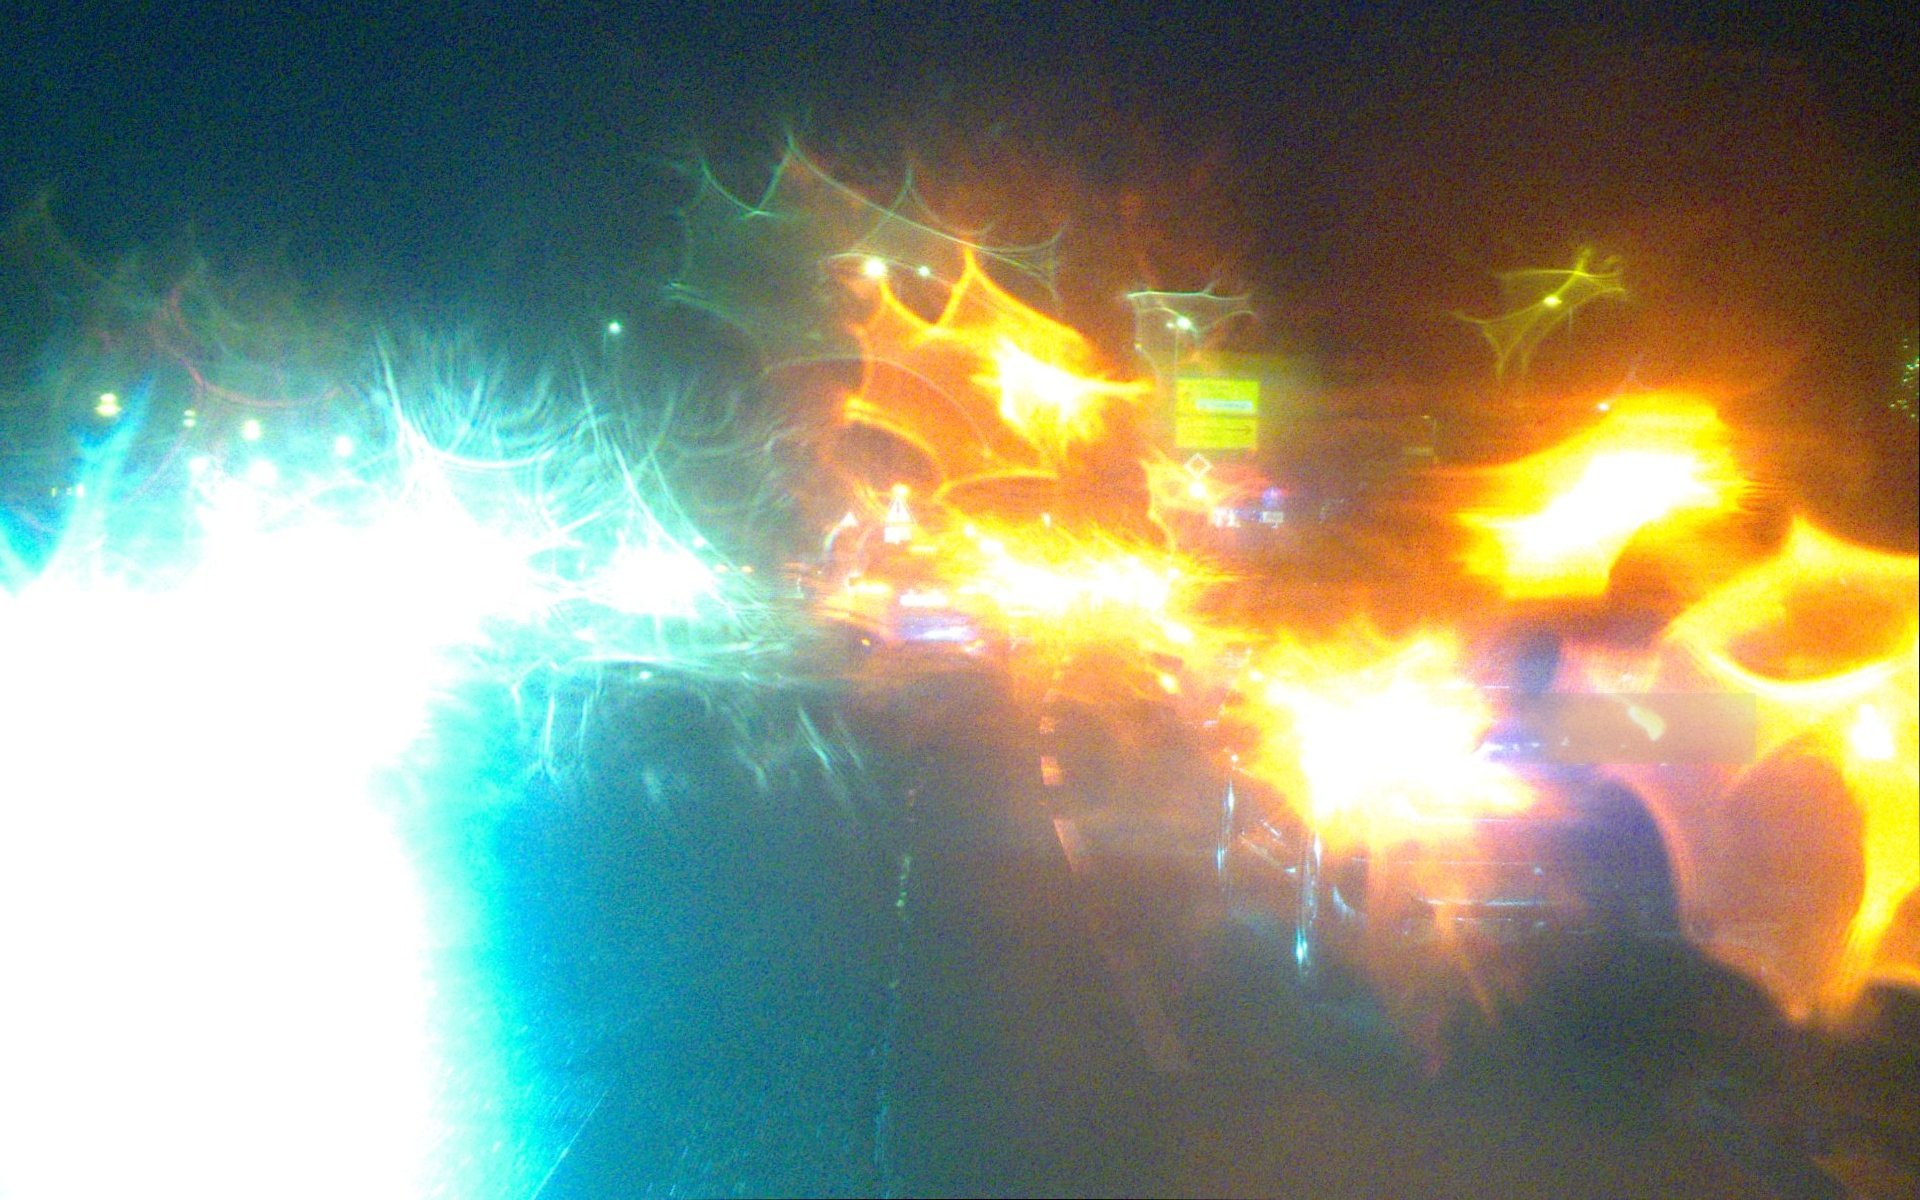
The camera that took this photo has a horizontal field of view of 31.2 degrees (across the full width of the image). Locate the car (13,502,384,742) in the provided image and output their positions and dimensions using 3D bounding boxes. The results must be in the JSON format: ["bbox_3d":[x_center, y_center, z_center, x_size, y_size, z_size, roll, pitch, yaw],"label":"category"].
[{"bbox_3d":[-4.985,0.086,23.035,1.694,1.429,4.294,1,1,-3],"label":"car"}]

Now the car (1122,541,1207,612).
[{"bbox_3d":[4.313,-0.495,72.083,1.663,1.445,4.049,0,0,5],"label":"car"}]

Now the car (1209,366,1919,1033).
[{"bbox_3d":[2.029,0.252,12.303,1.942,1.965,4.218,0,1,0],"label":"car"}]

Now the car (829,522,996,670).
[{"bbox_3d":[-0.515,-0.056,40.311,1.694,1.624,3.852,1,0,3],"label":"car"}]

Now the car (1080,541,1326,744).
[{"bbox_3d":[1.913,0.271,27.112,1.768,1.445,4.218,1,1,4],"label":"car"}]

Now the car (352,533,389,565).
[{"bbox_3d":[-34.704,-3.012,202.567,1.993,1.905,4.744,0,1,-8],"label":"car"}]

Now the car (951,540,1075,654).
[{"bbox_3d":[0.842,-0.072,52.366,1.709,1.632,3.730,-1,1,3],"label":"car"}]

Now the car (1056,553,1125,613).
[{"bbox_3d":[3.257,-0.411,85.594,1.663,1.445,4.049,1,0,2],"label":"car"}]
